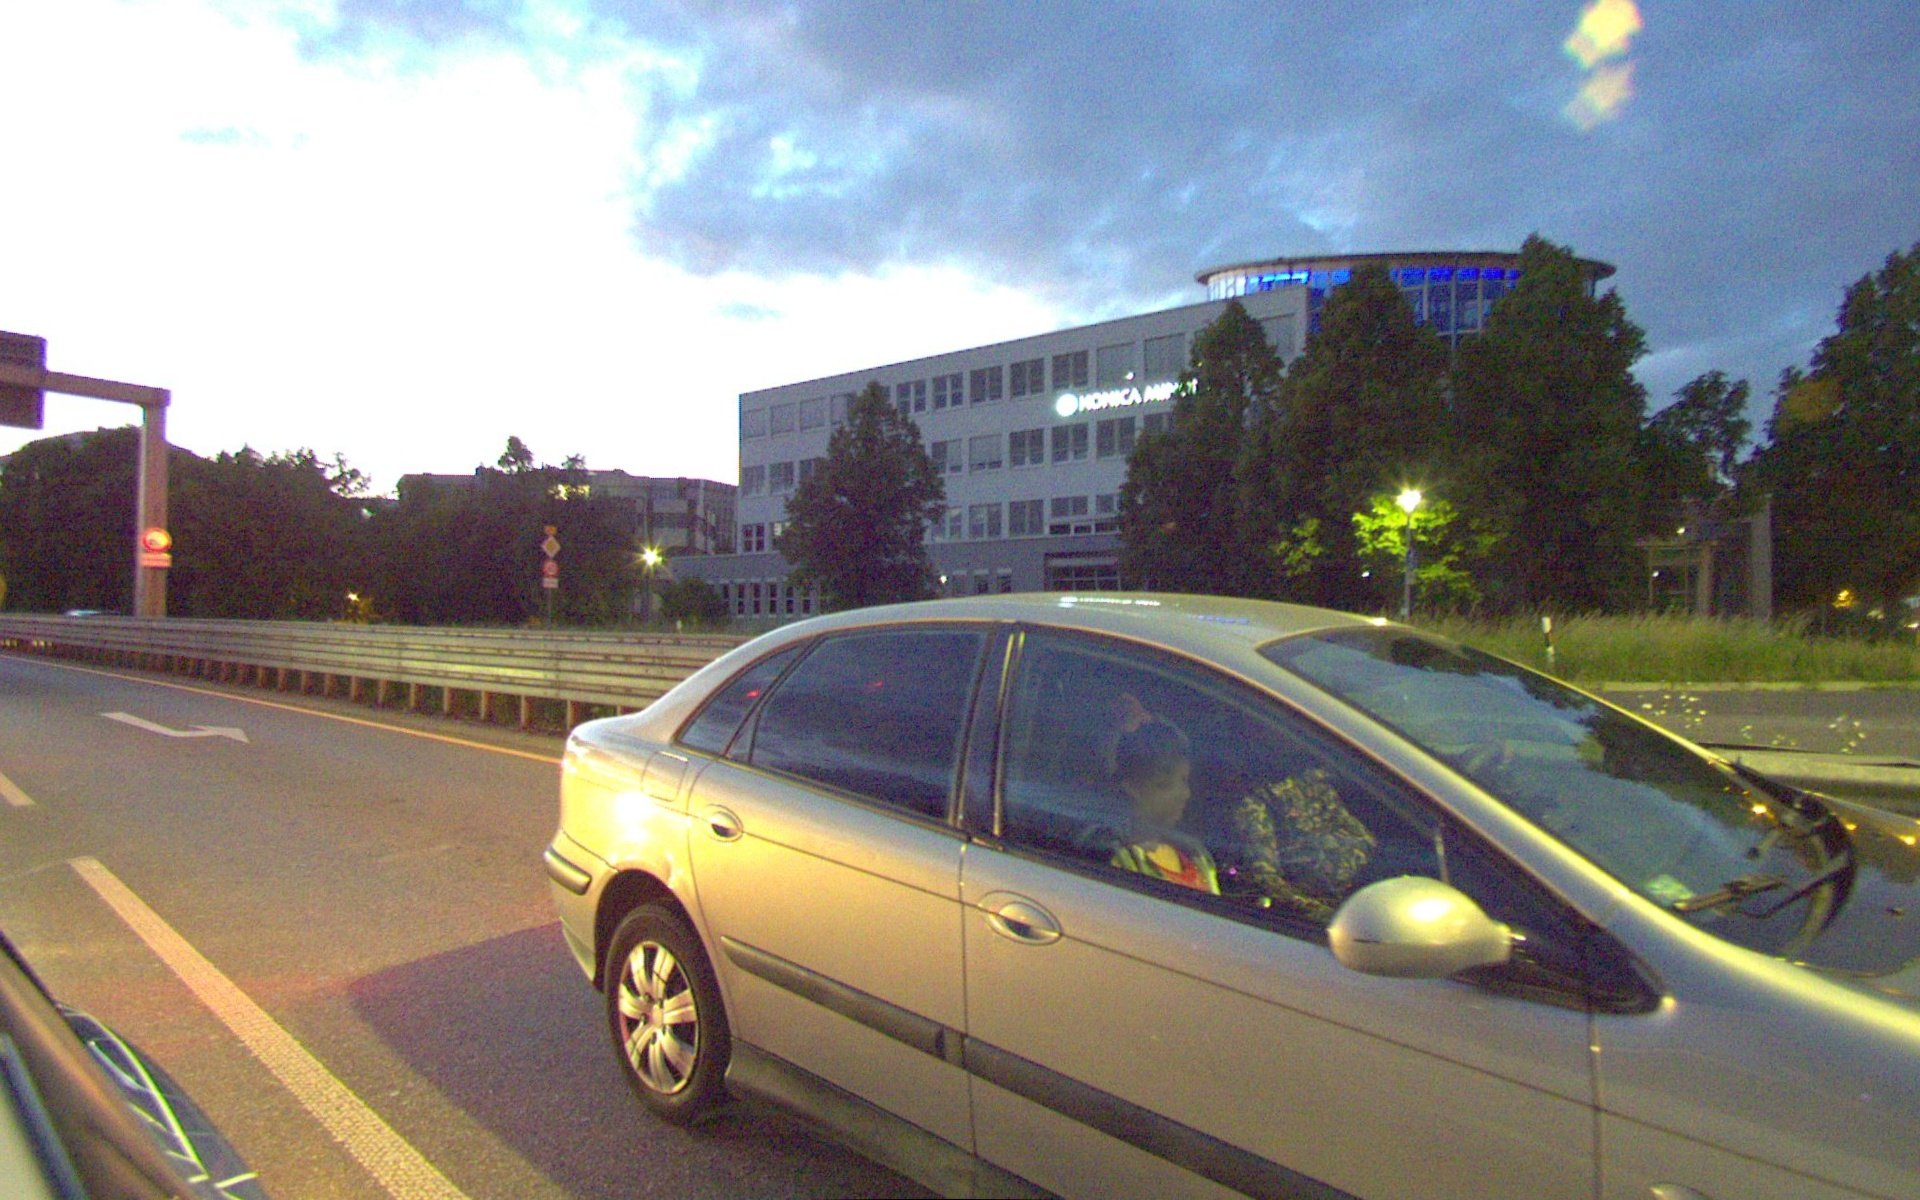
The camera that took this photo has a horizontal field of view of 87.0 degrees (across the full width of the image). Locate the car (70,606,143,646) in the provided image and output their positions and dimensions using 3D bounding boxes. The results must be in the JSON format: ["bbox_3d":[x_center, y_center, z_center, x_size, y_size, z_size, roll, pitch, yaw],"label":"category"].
[{"bbox_3d":[-32.829,0.990,38.892,4.111,1.454,1.738,-1,-2,44],"label":"car"}]

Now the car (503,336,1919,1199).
[{"bbox_3d":[0.710,0.561,2.443,4.409,1.665,1.648,-1,0,42],"label":"car"}]
